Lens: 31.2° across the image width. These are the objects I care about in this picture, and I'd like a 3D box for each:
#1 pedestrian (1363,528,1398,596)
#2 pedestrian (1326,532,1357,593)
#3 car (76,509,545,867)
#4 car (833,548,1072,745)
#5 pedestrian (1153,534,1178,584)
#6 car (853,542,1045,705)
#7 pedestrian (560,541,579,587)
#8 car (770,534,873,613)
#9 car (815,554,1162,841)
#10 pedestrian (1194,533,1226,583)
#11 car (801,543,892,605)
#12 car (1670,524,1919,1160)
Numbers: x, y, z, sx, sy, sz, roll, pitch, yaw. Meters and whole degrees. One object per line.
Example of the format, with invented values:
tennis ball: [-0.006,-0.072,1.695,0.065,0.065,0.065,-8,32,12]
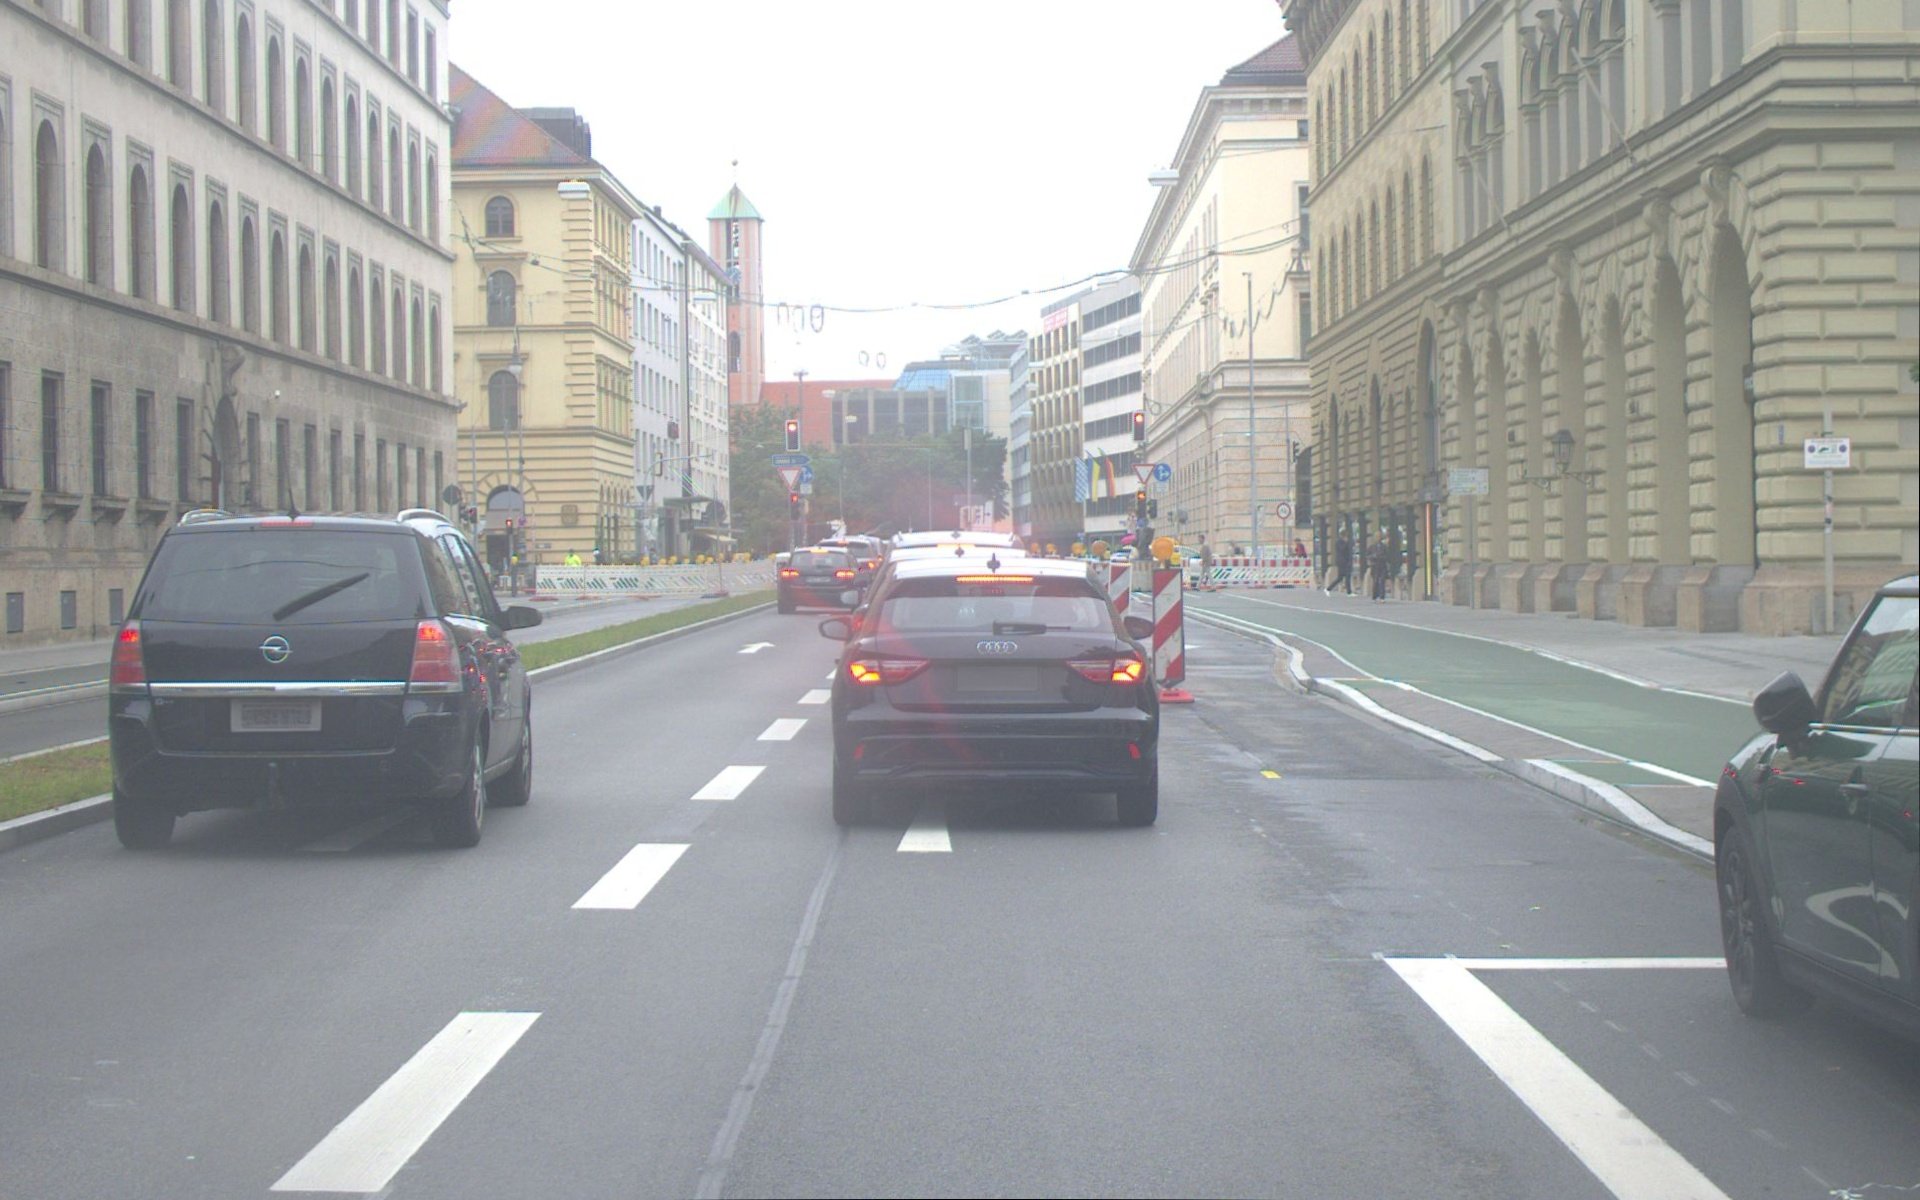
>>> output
pedestrian: [10.012,-0.911,81.891,0.710,1.612,0.754,-1,1,0]
pedestrian: [10.117,-0.994,91.235,0.710,1.612,0.754,-1,1,0]
car: [-3.178,0.362,17.556,1.764,1.610,4.030,0,1,-2]
car: [-0.046,0.310,27.102,1.730,1.398,4.000,1,1,0]
pedestrian: [6.777,-1.353,113.531,0.752,1.612,0.712,-1,1,9]
car: [-0.092,0.183,33.283,1.730,1.456,4.000,1,1,0]
pedestrian: [-15.660,-1.447,138.033,0.656,1.799,0.727,-1,1,0]
car: [-2.942,-0.590,73.825,1.993,1.622,4.000,-1,1,1]
car: [0.153,0.463,19.273,1.730,1.398,4.000,1,1,0]
pedestrian: [8.052,-1.356,110.805,0.710,1.612,0.754,-1,1,-29]
car: [-2.705,-0.638,82.819,1.993,1.439,4.000,-1,1,1]
car: [3.166,0.557,9.533,1.675,1.515,3.829,0,1,1]
